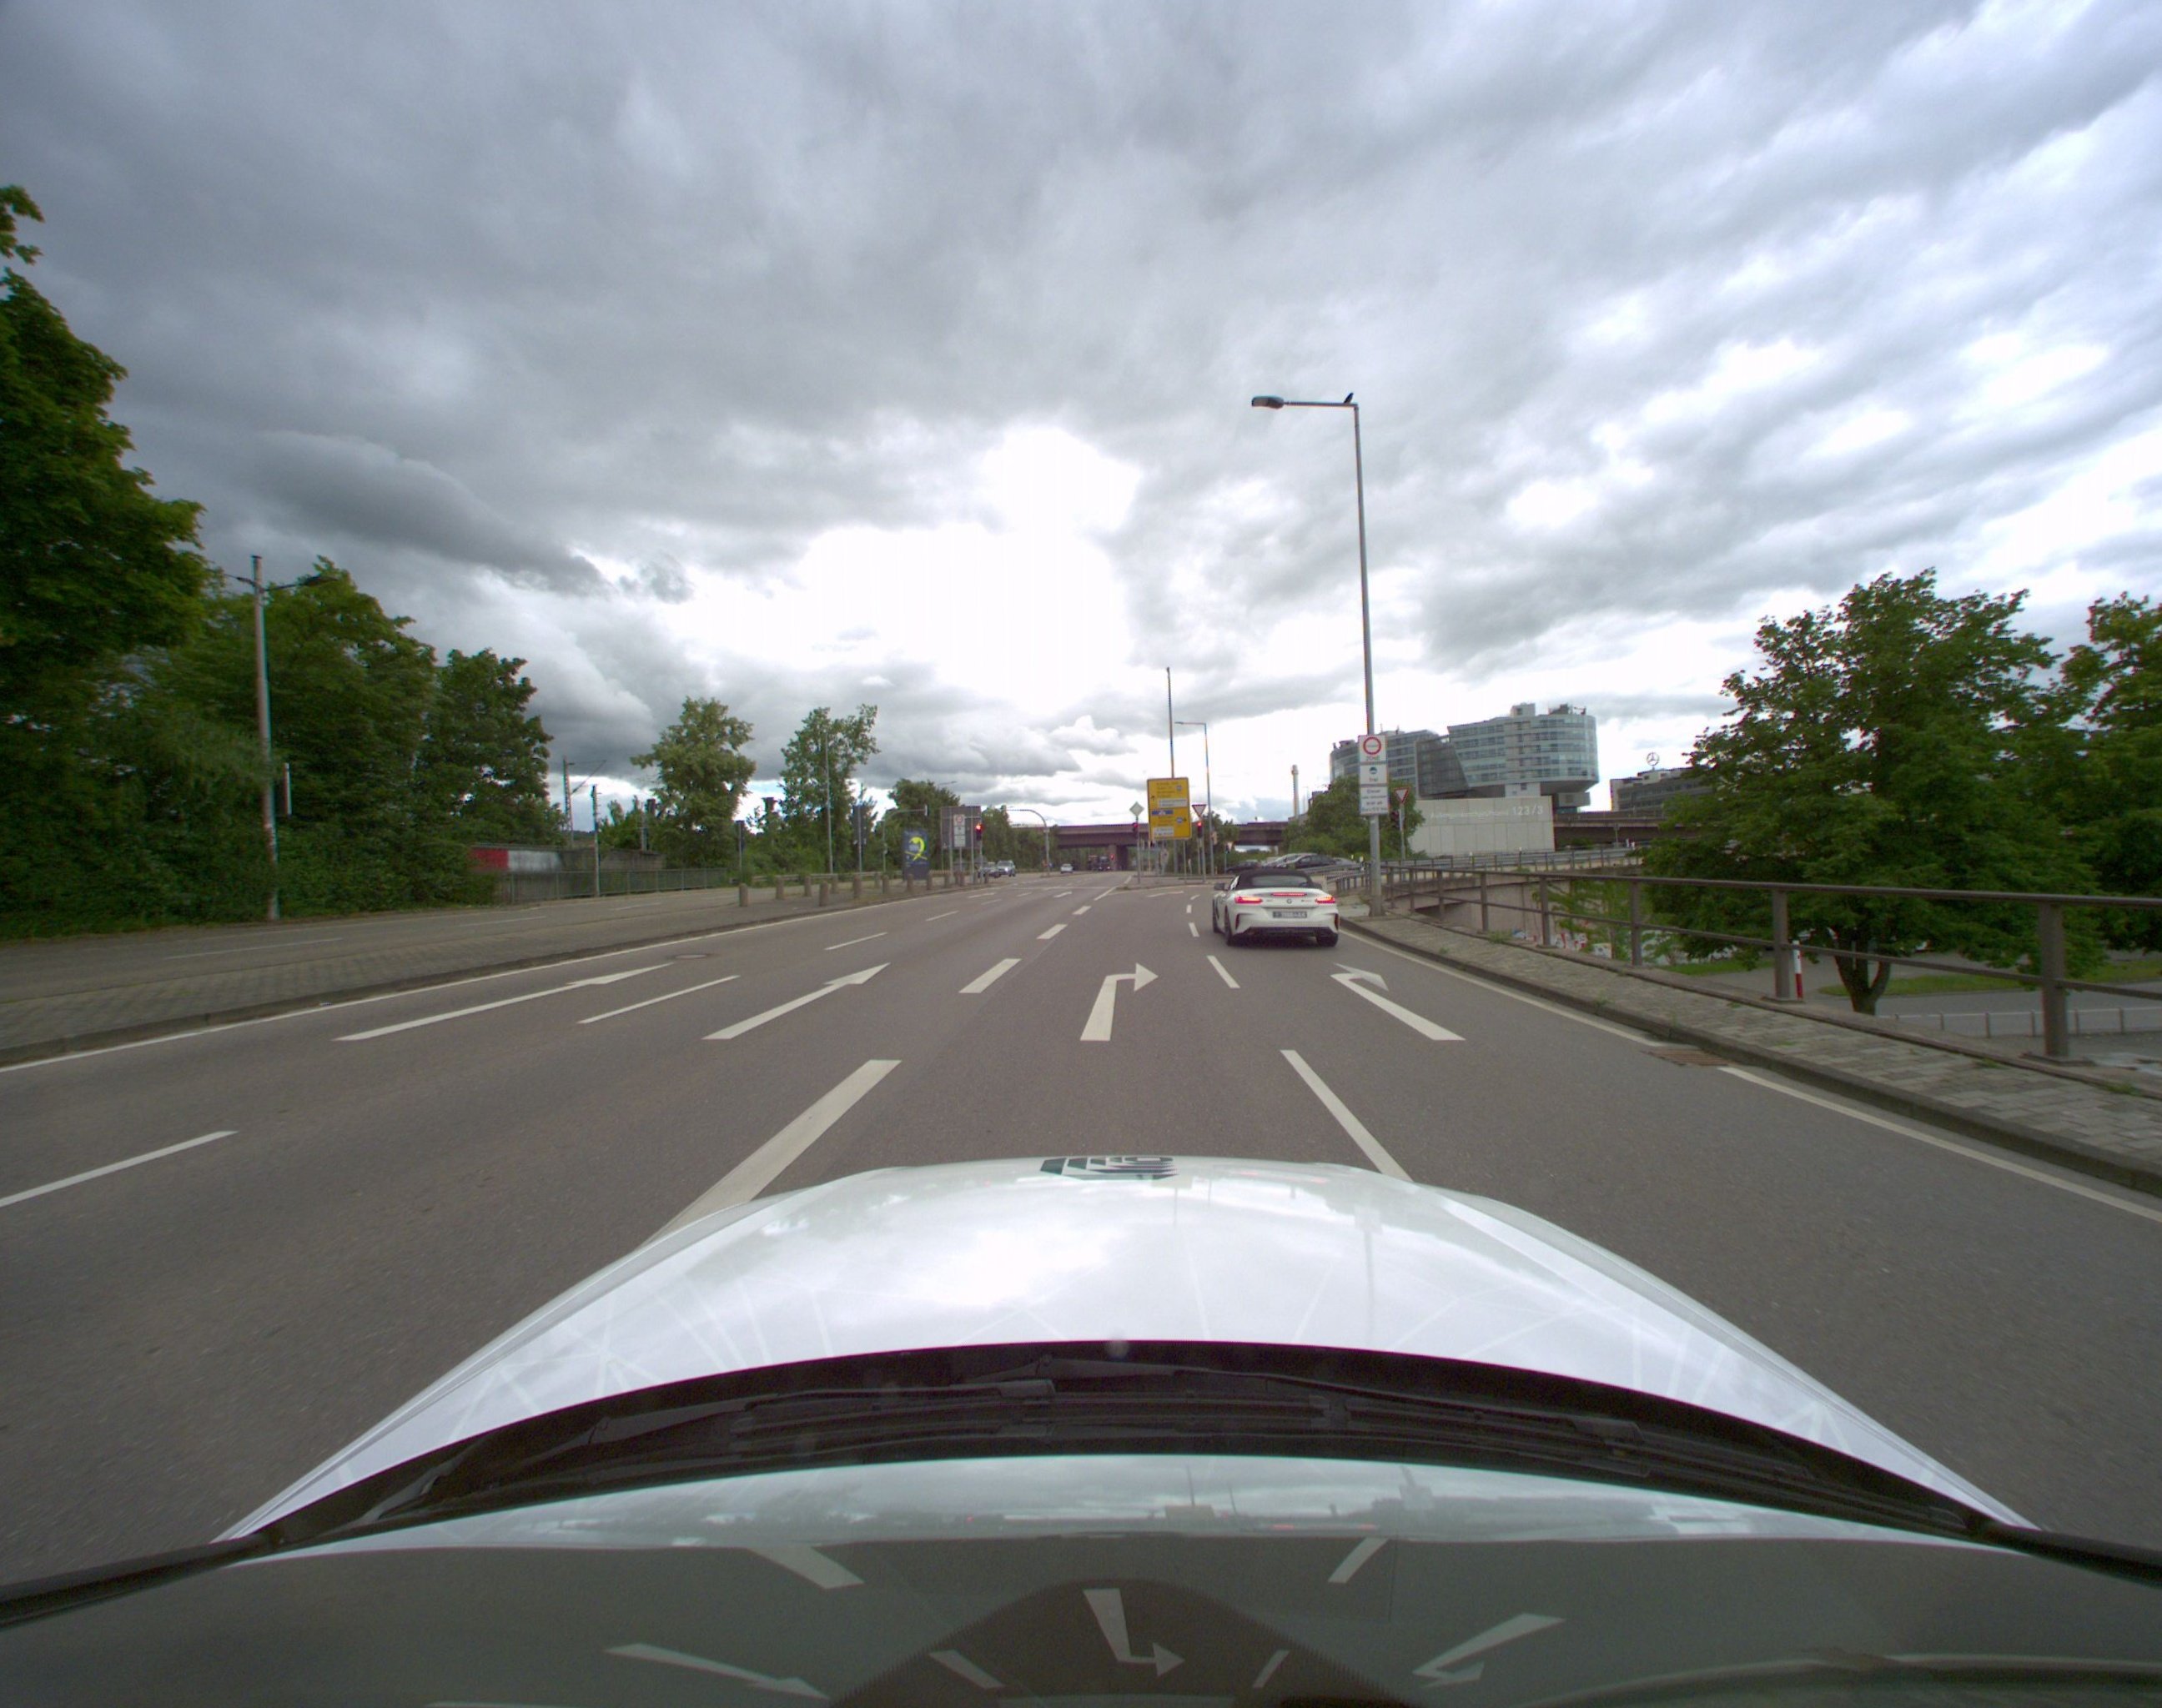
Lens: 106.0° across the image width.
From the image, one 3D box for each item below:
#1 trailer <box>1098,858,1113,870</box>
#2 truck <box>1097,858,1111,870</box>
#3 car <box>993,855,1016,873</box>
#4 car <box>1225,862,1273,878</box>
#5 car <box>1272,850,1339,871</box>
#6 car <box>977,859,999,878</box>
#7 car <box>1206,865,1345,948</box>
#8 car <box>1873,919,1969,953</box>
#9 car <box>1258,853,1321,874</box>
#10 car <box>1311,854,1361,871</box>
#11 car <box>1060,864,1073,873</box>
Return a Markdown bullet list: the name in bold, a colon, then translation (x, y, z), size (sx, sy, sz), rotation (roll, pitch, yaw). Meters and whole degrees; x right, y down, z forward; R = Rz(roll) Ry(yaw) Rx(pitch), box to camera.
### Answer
- **trailer**: translation (5.746, 2.360, 191.753), size (2.587, 2.624, 8.586), rotation (2, 0, 7)
- **truck**: translation (5.288, 2.323, 187.209), size (2.599, 2.624, 5.790), rotation (2, 0, 6)
- **car**: translation (-7.896, 1.026, 84.110), size (1.718, 1.737, 4.557), rotation (-2, -1, 2)
- **car**: translation (16.328, 1.584, 79.099), size (4.057, 1.464, 2.012), rotation (-2, -3, 38)
- **car**: translation (17.169, 0.495, 62.412), size (4.592, 1.457, 1.955), rotation (-1, 0, -2)
- **car**: translation (-8.593, 1.334, 74.791), size (1.724, 1.462, 4.228), rotation (2, -4, -10)
- **car**: translation (3.440, 0.870, 15.175), size (1.797, 1.291, 4.267), rotation (0, 0, 3)
- **car**: translation (48.757, 4.743, 47.305), size (3.982, 1.534, 1.823), rotation (-3, 0, -6)
- **car**: translation (16.954, 0.760, 66.385), size (4.660, 1.571, 1.957), rotation (-1, 0, 2)
- **car**: translation (23.460, 0.812, 74.887), size (4.059, 1.442, 2.011), rotation (-1, -3, 26)
- **car**: translation (-2.278, 2.227, 127.281), size (1.717, 1.400, 4.070), rotation (-2, -1, 3)
